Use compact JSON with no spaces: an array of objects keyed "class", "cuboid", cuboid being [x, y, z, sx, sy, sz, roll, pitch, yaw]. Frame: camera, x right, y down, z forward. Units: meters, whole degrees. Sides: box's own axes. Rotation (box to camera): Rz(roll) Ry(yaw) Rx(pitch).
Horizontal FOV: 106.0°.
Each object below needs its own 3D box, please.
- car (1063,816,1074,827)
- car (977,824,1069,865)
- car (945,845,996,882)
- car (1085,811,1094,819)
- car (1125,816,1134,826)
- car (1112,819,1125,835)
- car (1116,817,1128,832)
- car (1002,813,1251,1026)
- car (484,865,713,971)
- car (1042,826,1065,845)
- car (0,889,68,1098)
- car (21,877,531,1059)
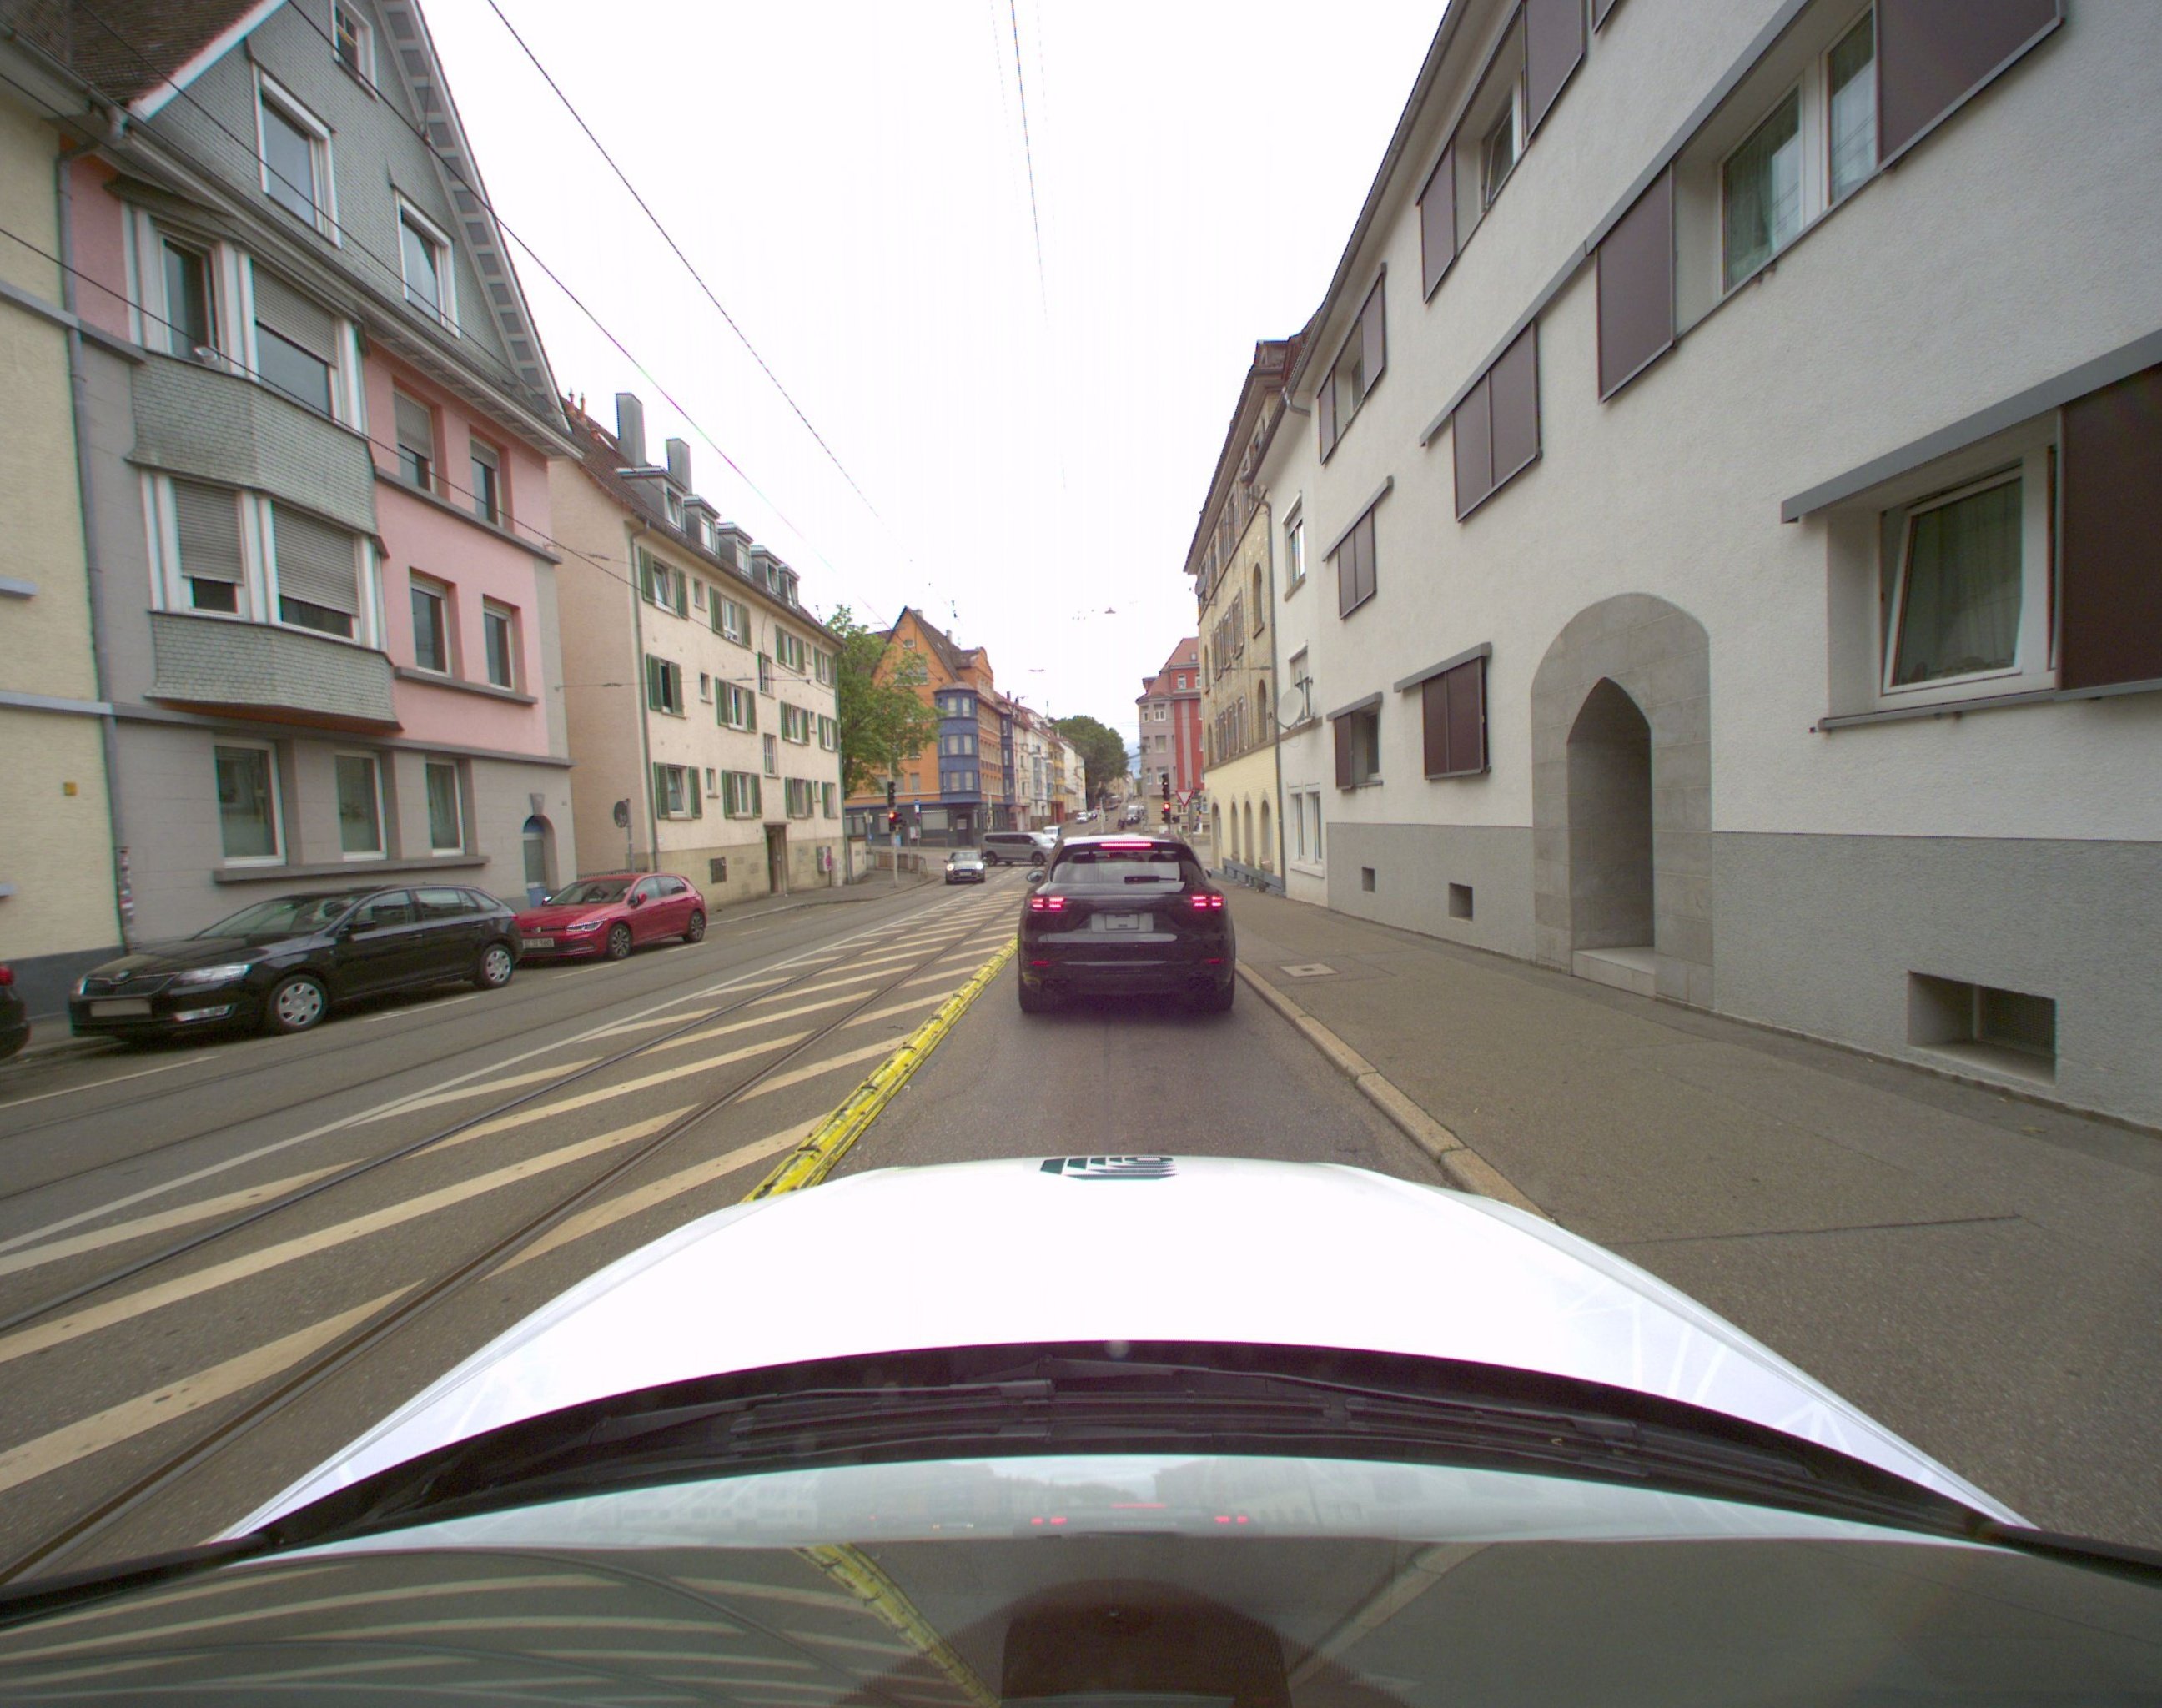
[{"class":"car","cuboid":[-1.920,-5.014,125.510,1.389,1.450,3.361,-3,1,2]},{"class":"car","cuboid":[-3.502,-0.533,49.052,5.239,2.241,2.012,-2,-2,28]},{"class":"car","cuboid":[-4.908,0.376,36.554,1.627,1.508,3.542,-3,1,2]},{"class":"car","cuboid":[1.590,-7.288,152.740,1.389,1.450,3.361,-3,1,2]},{"class":"car","cuboid":[7.554,-5.083,126.768,1.389,1.450,3.361,-3,1,2]},{"class":"car","cuboid":[4.367,-3.102,94.706,1.389,1.722,3.361,-3,0,2]},{"class":"car","cuboid":[5.077,-3.633,101.809,1.389,1.722,3.361,-3,0,2]},{"class":"car","cuboid":[0.426,0.522,8.727,1.986,1.675,4.001,-3,1,1]},{"class":"car","cuboid":[-8.442,1.025,14.724,1.615,1.490,4.047,-3,0,0]},{"class":"car","cuboid":[-2.645,-1.800,79.199,1.744,1.759,4.256,-3,1,2]},{"class":"car","cuboid":[-8.601,1.051,3.906,1.614,1.473,4.558,-3,0,2]},{"class":"car","cuboid":[-8.617,1.089,9.349,1.729,1.410,4.002,-3,1,2]}]
